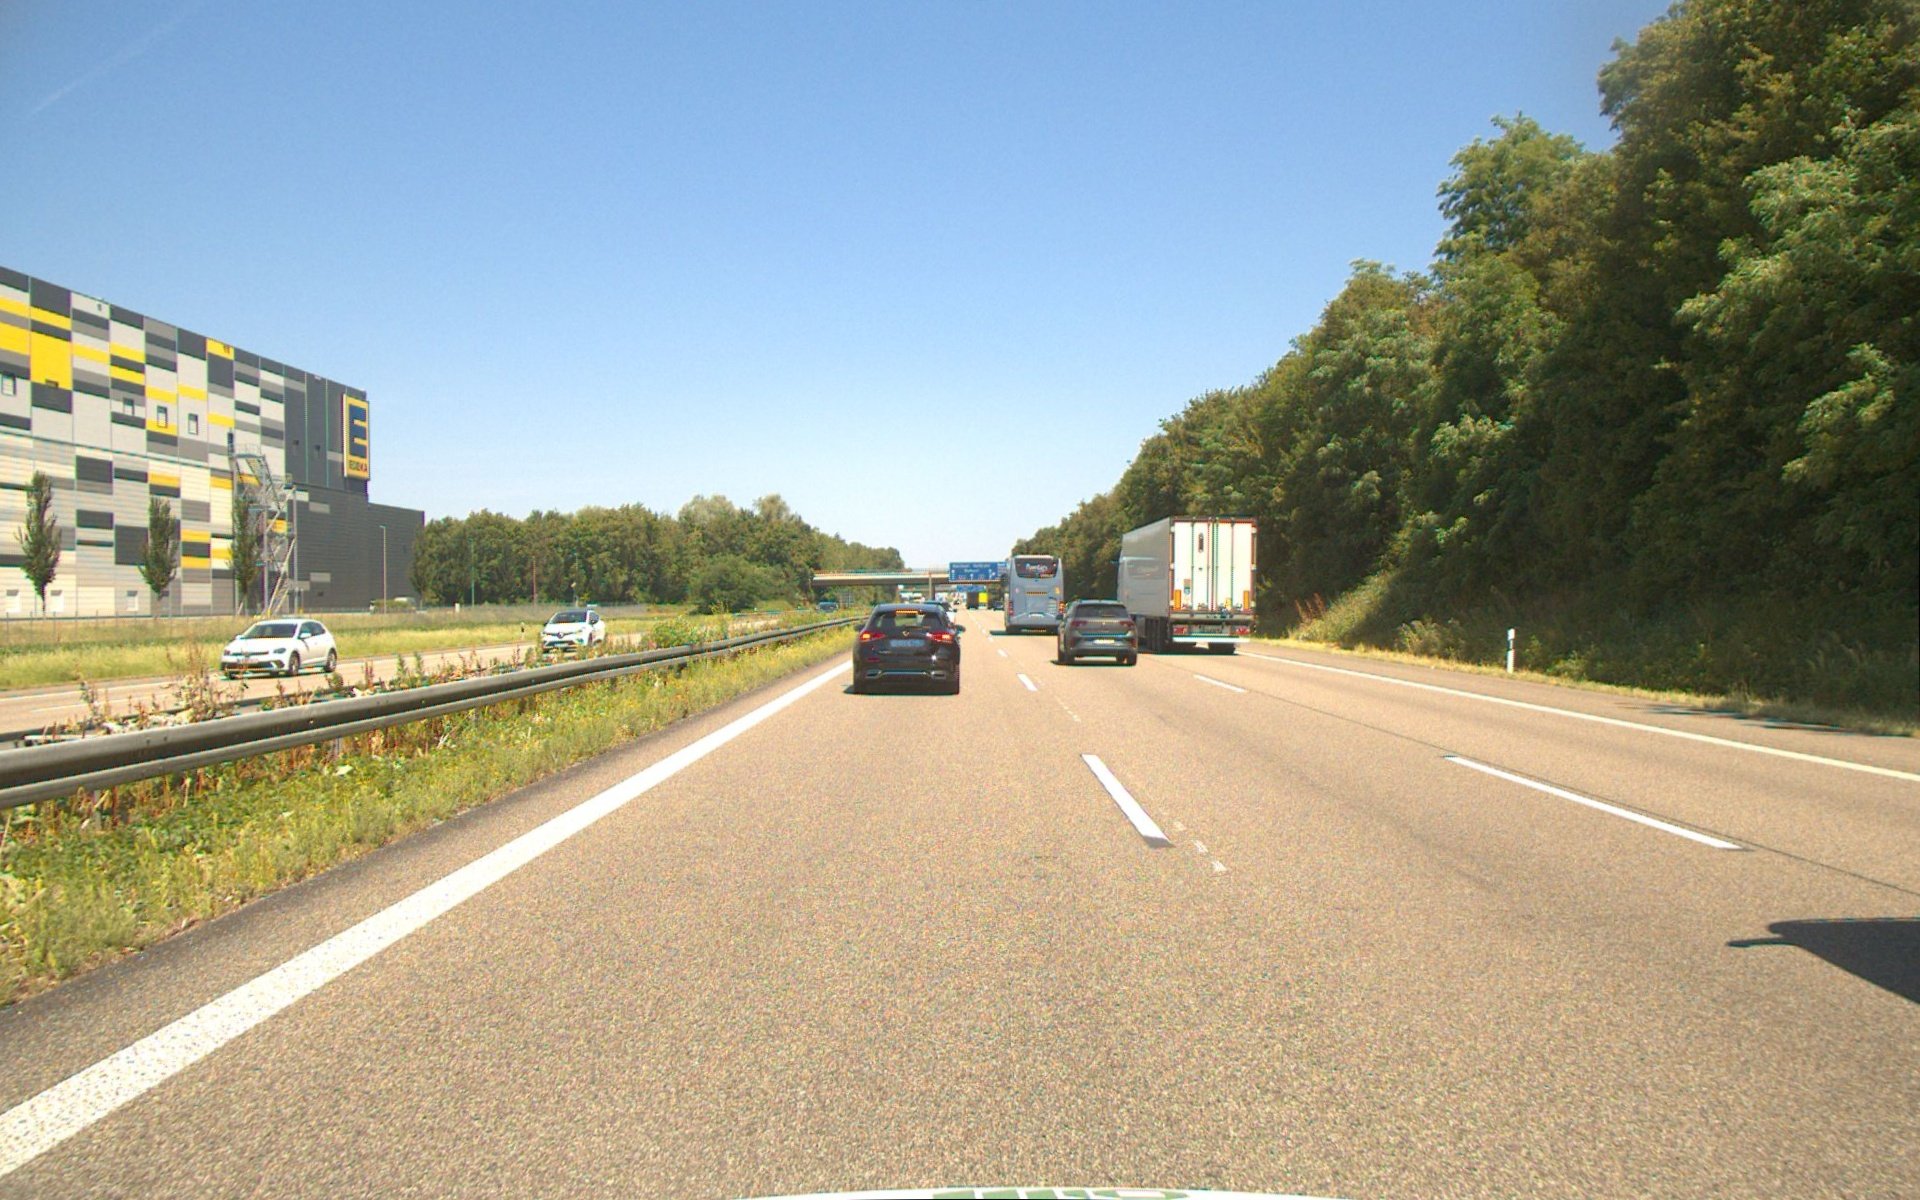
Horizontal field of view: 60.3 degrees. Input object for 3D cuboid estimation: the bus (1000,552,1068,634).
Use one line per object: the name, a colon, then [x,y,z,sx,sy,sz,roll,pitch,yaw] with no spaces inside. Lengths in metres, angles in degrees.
bus: [3.451,-0.300,80.381,2.745,3.659,12.473,0,0,0]

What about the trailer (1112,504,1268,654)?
trailer: [7.300,-0.610,54.791,2.978,4.298,13.832,1,0,-1]

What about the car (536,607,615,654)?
car: [-13.668,1.071,59.003,1.762,1.559,4.483,-1,0,0]

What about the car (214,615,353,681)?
car: [-17.560,1.197,43.164,1.763,1.559,4.631,-1,0,-1]

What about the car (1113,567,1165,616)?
car: [8.216,-0.376,76.308,1.861,2.157,4.240,0,0,-1]

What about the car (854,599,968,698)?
car: [-0.809,0.753,27.949,1.763,1.528,4.240,0,0,-1]

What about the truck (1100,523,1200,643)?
truck: [7.143,-0.615,62.963,2.986,4.289,6.047,1,0,-1]

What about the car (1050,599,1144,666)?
car: [3.359,0.775,41.287,1.861,1.559,4.759,0,0,-1]

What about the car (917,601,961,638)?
car: [-0.953,0.845,73.752,1.861,1.559,4.240,0,0,-1]
